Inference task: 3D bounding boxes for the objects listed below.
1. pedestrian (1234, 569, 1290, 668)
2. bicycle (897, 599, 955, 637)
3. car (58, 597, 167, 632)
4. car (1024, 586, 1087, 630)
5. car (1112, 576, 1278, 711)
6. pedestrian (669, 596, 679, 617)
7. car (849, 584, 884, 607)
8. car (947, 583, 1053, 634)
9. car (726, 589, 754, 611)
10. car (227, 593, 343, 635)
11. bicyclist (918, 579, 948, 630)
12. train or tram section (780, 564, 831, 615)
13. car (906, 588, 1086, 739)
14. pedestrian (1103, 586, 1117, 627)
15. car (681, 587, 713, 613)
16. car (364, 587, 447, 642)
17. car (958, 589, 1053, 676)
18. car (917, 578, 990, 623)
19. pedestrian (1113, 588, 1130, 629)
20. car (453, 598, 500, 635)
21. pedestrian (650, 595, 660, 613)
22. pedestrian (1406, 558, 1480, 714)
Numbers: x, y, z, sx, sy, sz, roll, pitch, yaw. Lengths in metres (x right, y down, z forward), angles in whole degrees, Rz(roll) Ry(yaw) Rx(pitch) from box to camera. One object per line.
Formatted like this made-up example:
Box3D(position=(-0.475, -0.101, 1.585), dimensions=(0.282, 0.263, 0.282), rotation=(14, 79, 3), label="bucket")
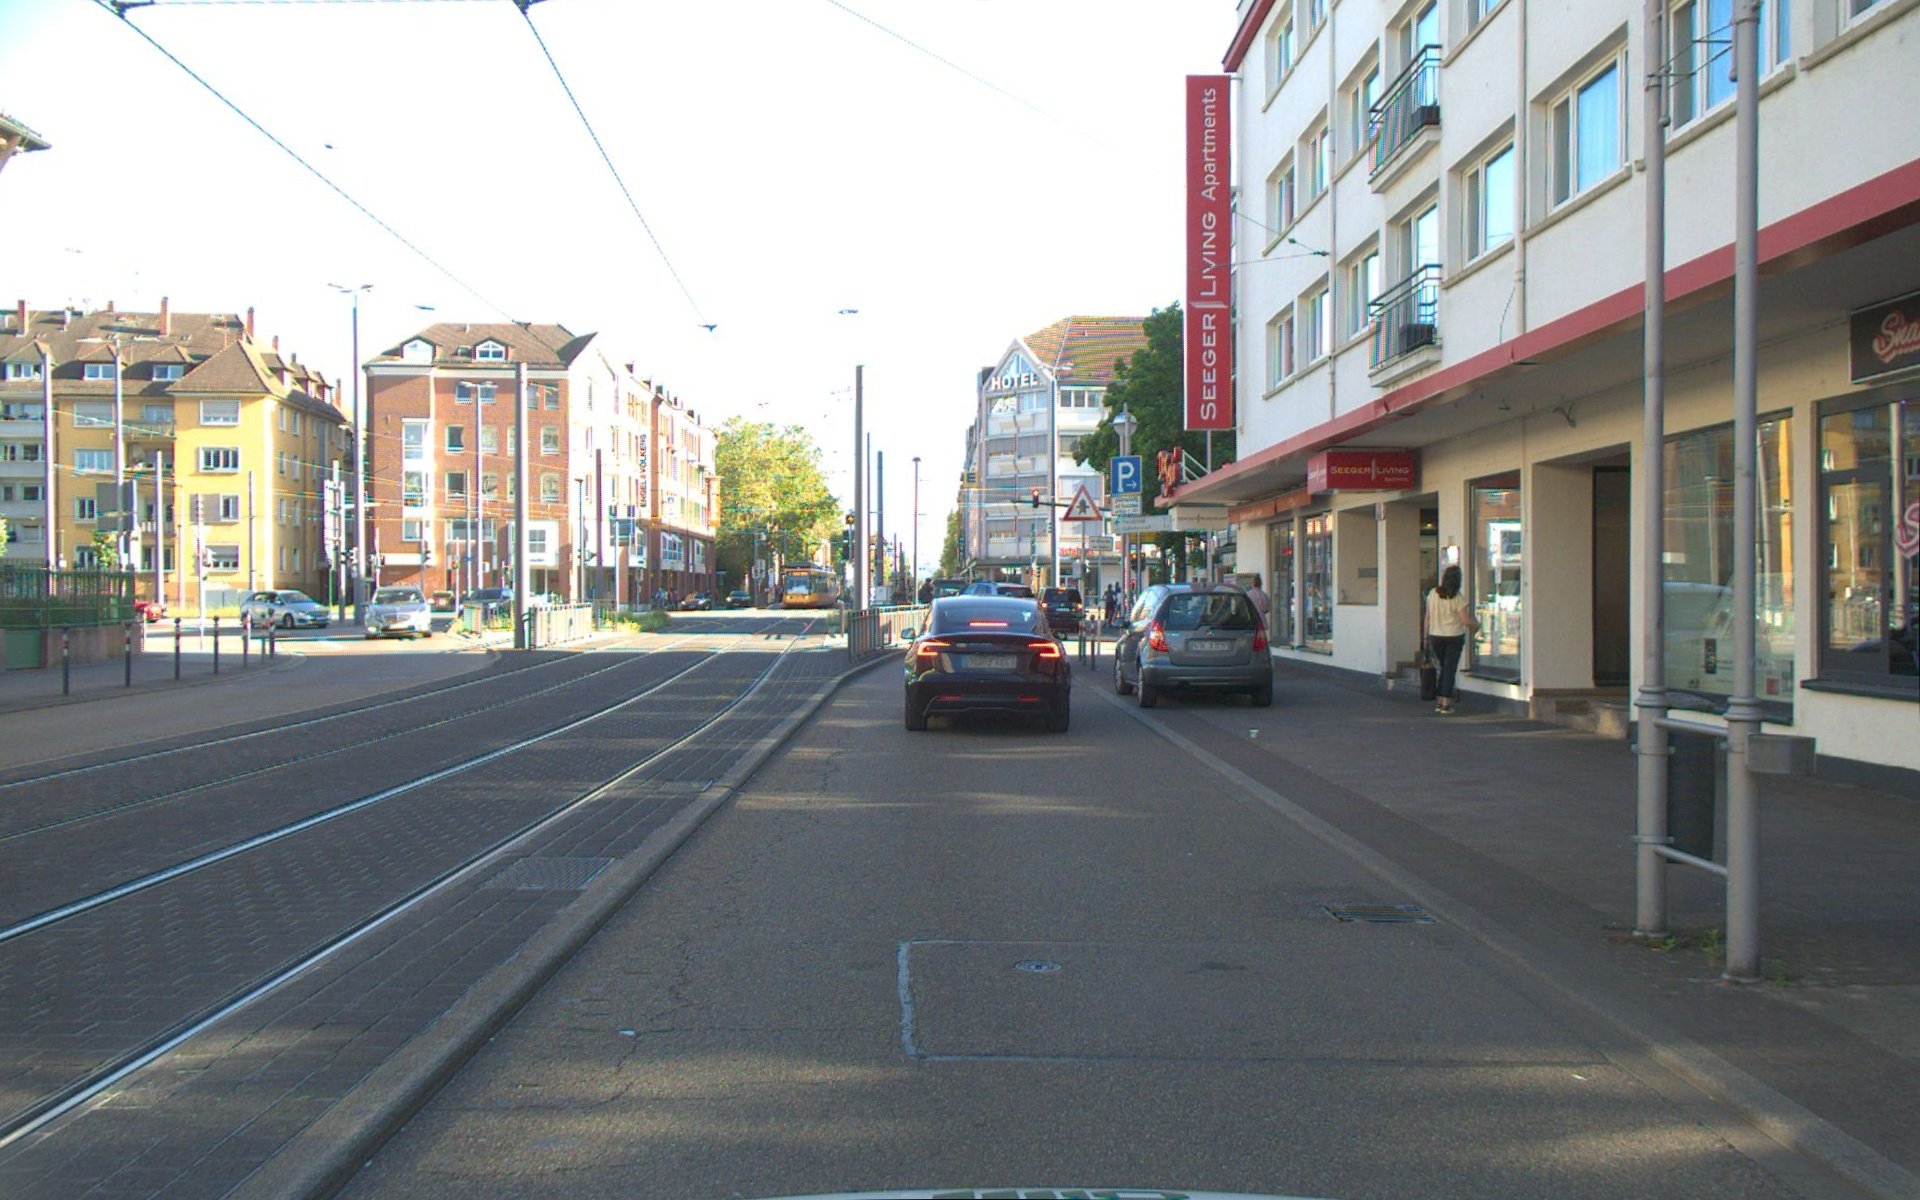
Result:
Box3D(position=(5.391, 0.326, 29.536), dimensions=(0.800, 1.712, 0.714), rotation=(2, -1, 22), label="pedestrian")
Box3D(position=(-1.046, 0.561, 51.105), dimensions=(1.696, 1.107, 0.677), rotation=(2, 0, -9), label="bicycle")
Box3D(position=(-39.401, 0.655, 76.940), dimensions=(4.070, 1.516, 1.934), rotation=(1, 0, -10), label="car")
Box3D(position=(3.544, 0.302, 61.917), dimensions=(1.789, 1.545, 3.645), rotation=(2, 0, -6), label="car")
Box3D(position=(3.126, 0.531, 22.639), dimensions=(1.709, 1.660, 3.648), rotation=(-1, 0, 0), label="car")
Box3D(position=(-23.217, 0.542, 134.254), dimensions=(0.698, 1.696, 0.563), rotation=(2, -1, -10), label="pedestrian")
Box3D(position=(-6.332, -0.307, 112.179), dimensions=(1.952, 1.445, 4.001), rotation=(2, 0, 2), label="car")
Box3D(position=(1.251, 0.258, 53.828), dimensions=(1.761, 1.545, 4.184), rotation=(2, 0, -25), label="car")
Box3D(position=(-18.035, -0.005, 135.536), dimensions=(1.715, 1.680, 3.999), rotation=(2, 0, 0), label="car")
Box3D(position=(-28.164, 0.588, 69.049), dimensions=(4.501, 1.583, 1.815), rotation=(2, 0, 23), label="car")
Box3D(position=(-0.845, 0.144, 51.208), dimensions=(0.821, 1.526, 0.559), rotation=(2, -1, -9), label="bicyclist")
Box3D(position=(-12.158, -0.767, 131.145), dimensions=(2.620, 3.780, 14.191), rotation=(2, 0, 0), label="train or tram section")
Box3D(position=(0.313, 0.655, 18.881), dimensions=(1.811, 1.510, 3.786), rotation=(1, 0, -2), label="car")
Box3D(position=(6.362, 0.264, 70.048), dimensions=(0.550, 1.712, 0.750), rotation=(1, 0, 4), label="pedestrian")
Box3D(position=(-21.009, -0.018, 132.415), dimensions=(1.953, 2.049, 4.000), rotation=(0, 0, 0), label="car")
Box3D(position=(-16.326, 0.395, 48.894), dimensions=(1.848, 1.522, 4.913), rotation=(-1, 0, -13), label="car")
Box3D(position=(0.790, 0.559, 30.739), dimensions=(1.620, 1.443, 4.000), rotation=(2, 1, 0), label="car")
Box3D(position=(-0.289, 0.002, 61.580), dimensions=(1.793, 1.545, 4.203), rotation=(2, 0, -13), label="car")
Box3D(position=(6.618, 0.346, 67.859), dimensions=(0.616, 1.642, 0.643), rotation=(1, 0, 3), label="pedestrian")
Box3D(position=(-20.583, 0.687, 70.485), dimensions=(1.734, 1.538, 4.264), rotation=(0, 0, -14), label="car")
Box3D(position=(-23.512, 0.306, 127.433), dimensions=(0.696, 1.365, 0.666), rotation=(0, 0, -1), label="pedestrian")
Box3D(position=(5.769, 0.422, 19.778), dimensions=(0.786, 1.805, 0.933), rotation=(0, 0, 13), label="pedestrian")
